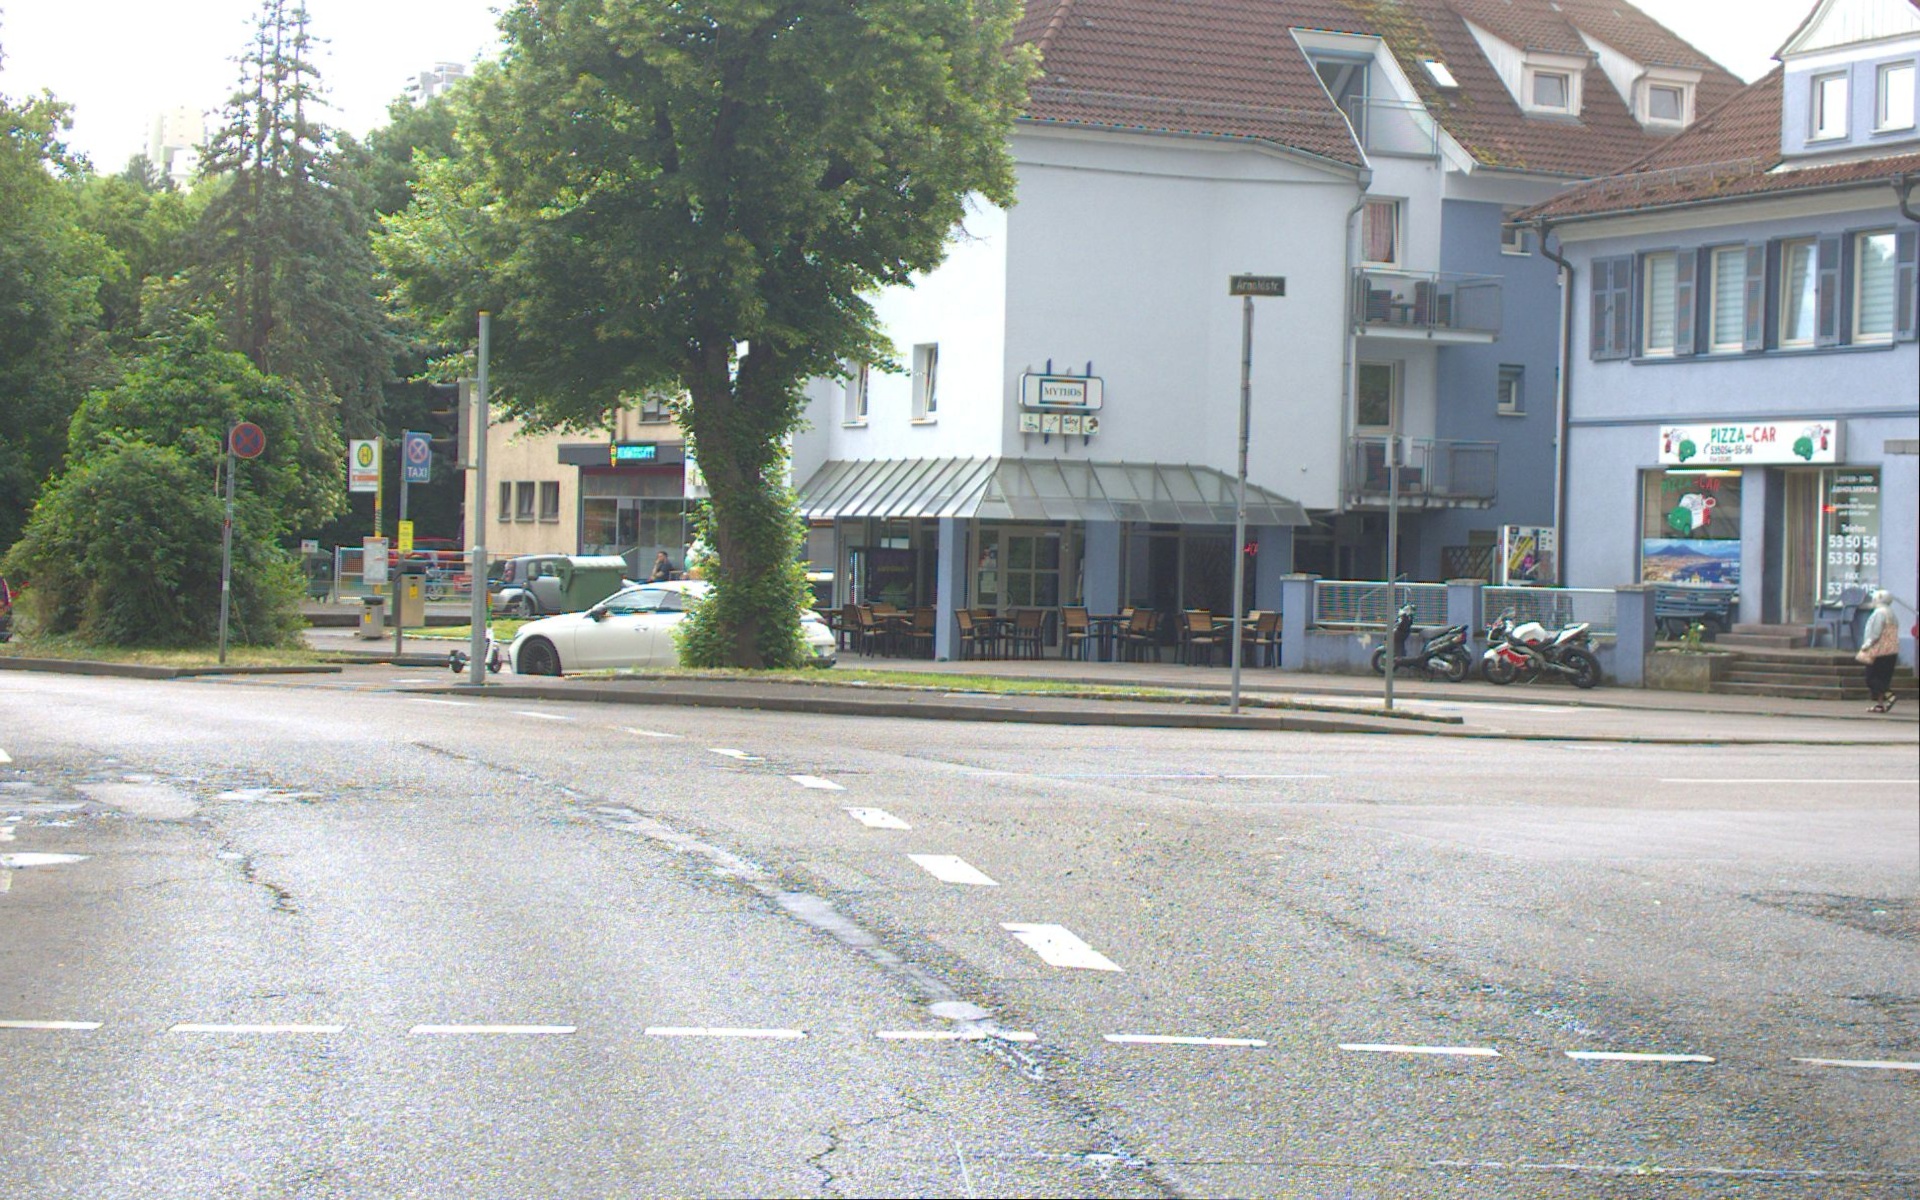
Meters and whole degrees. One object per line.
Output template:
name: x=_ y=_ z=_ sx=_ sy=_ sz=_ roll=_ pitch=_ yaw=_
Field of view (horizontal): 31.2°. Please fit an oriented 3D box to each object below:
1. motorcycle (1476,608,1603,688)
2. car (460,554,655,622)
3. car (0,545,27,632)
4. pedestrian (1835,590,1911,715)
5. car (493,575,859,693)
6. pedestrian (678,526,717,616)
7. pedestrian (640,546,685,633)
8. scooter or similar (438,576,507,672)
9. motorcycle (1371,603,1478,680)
motorcycle: x=8.145 y=0.667 z=48.363 sx=1.628 sy=1.085 sz=0.626 roll=1 pitch=1 yaw=32
car: x=-8.861 y=-0.263 z=75.629 sx=3.936 sy=1.437 sz=1.753 roll=1 pitch=1 yaw=-20
car: x=-16.424 y=-0.212 z=53.520 sx=3.322 sy=1.347 sz=1.778 roll=1 pitch=1 yaw=27
pedestrian: x=11.589 y=0.662 z=43.613 sx=0.732 sy=1.554 sz=0.767 roll=1 pitch=0 yaw=31
car: x=-3.809 y=0.425 z=45.760 sx=4.709 sy=1.405 sz=1.898 roll=2 pitch=1 yaw=35
pedestrian: x=-4.532 y=-0.498 z=59.269 sx=0.543 sy=1.554 sz=0.467 roll=0 pitch=0 yaw=13
pedestrian: x=-7.000 y=-0.251 z=80.873 sx=0.837 sy=2.007 sz=1.056 roll=1 pitch=1 yaw=-14
scooter or similar: x=-6.034 y=0.286 z=42.615 sx=0.442 sy=1.171 sz=1.437 roll=1 pitch=1 yaw=9
motorcycle: x=6.769 y=0.596 z=50.132 sx=1.458 sy=1.085 sz=0.523 roll=1 pitch=1 yaw=35
